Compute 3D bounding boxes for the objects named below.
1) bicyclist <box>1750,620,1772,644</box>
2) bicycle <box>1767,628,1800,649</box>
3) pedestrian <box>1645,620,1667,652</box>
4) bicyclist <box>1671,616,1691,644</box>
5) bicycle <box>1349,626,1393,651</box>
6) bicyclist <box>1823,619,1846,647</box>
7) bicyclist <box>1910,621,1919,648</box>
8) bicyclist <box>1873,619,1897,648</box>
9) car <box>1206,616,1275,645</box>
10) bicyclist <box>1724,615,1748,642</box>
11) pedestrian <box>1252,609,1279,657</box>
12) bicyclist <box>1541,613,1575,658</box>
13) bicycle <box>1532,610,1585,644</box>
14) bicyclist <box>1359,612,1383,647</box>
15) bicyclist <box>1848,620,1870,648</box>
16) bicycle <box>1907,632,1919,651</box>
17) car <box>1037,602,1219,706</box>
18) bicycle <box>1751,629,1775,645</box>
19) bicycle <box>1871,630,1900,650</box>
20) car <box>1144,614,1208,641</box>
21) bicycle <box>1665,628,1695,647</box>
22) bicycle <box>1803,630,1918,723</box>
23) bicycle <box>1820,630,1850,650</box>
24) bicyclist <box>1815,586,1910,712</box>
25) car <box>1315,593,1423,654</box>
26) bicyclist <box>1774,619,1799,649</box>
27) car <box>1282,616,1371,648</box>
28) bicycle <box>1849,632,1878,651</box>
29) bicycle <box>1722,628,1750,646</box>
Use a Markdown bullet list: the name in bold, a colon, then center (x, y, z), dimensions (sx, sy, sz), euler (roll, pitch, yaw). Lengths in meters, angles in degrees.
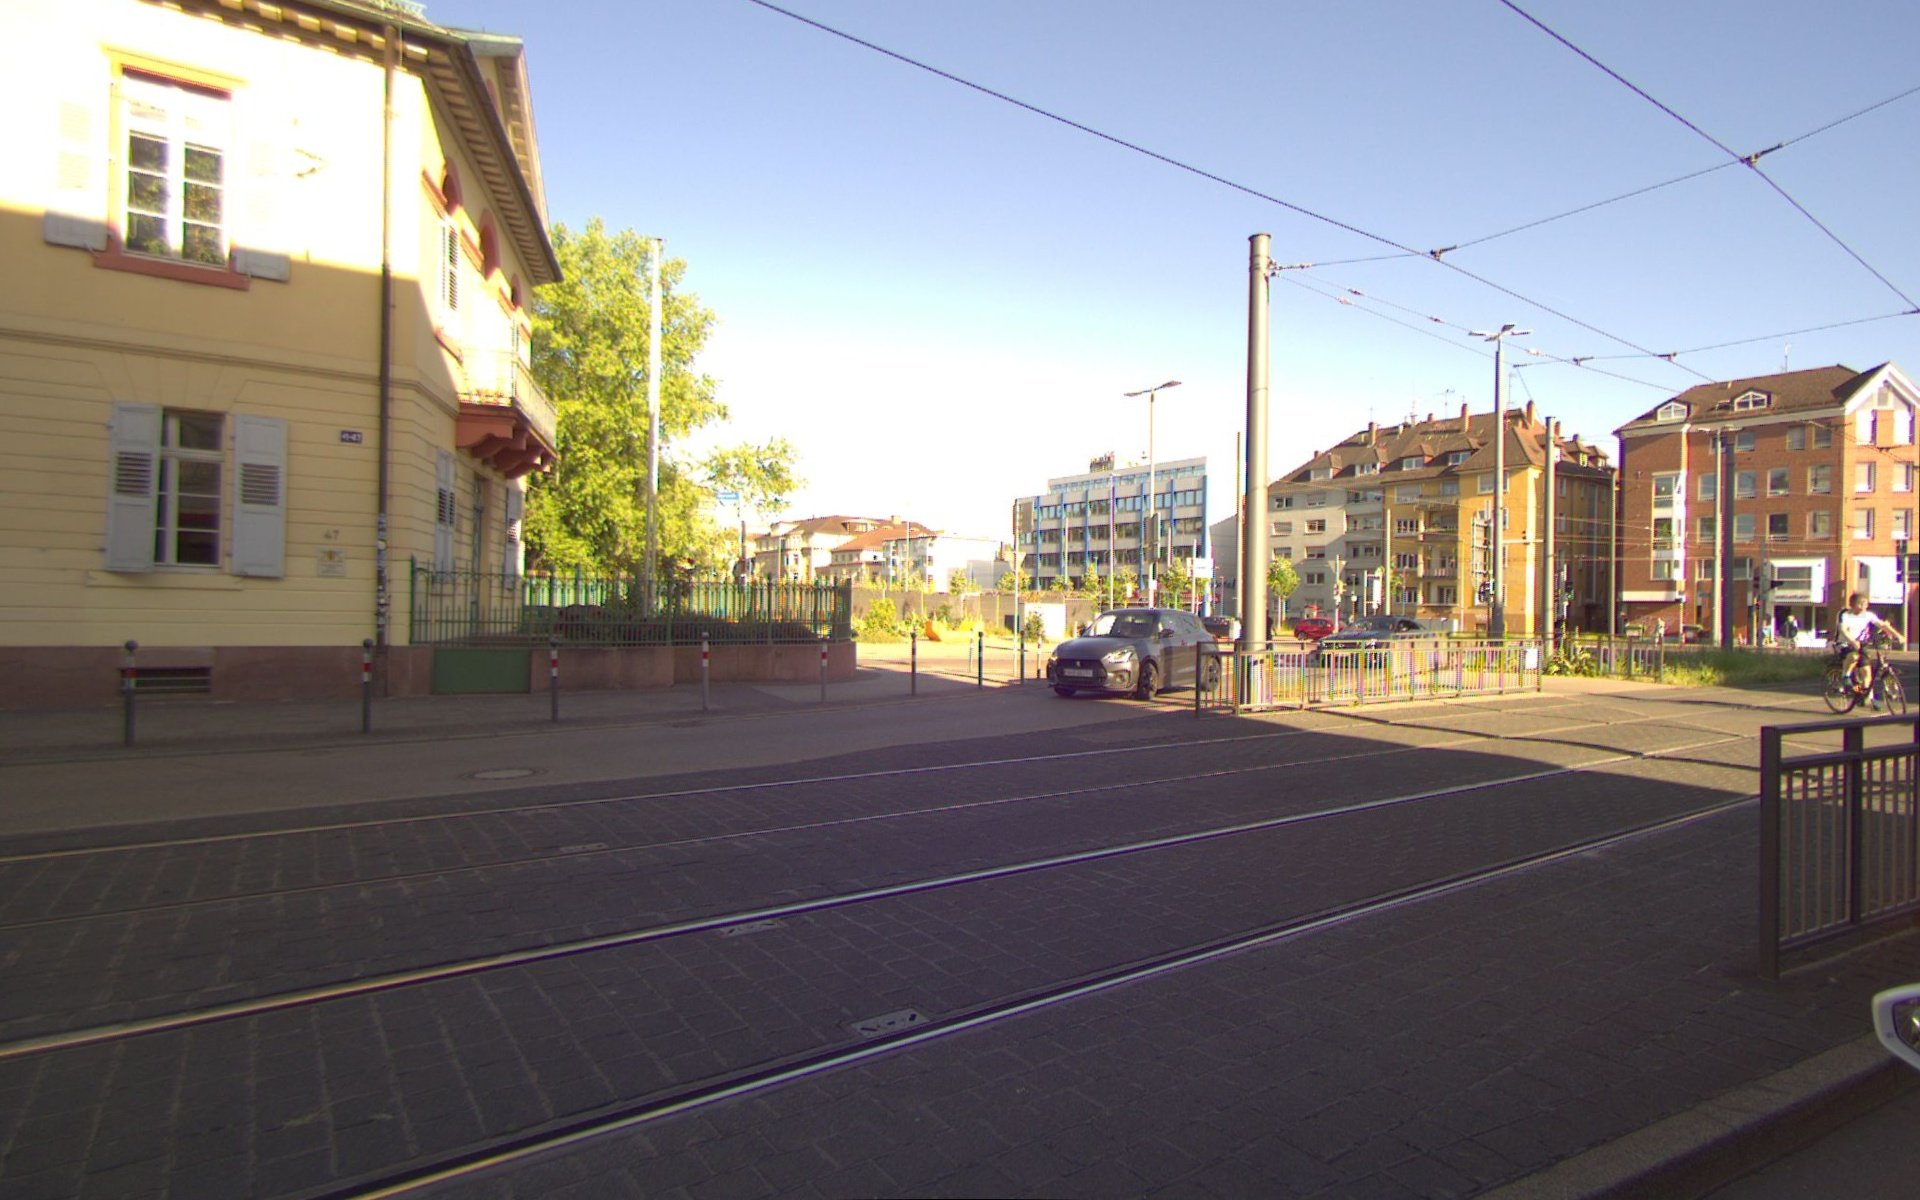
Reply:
- **bicyclist**: center (50.375, 1.988, 63.139), dimensions (0.958, 1.490, 0.702), euler (1, 0, -22)
- **bicycle**: center (44.372, 2.070, 54.118), dimensions (2.197, 1.103, 0.535), euler (2, 0, -28)
- **pedestrian**: center (41.165, 2.139, 59.405), dimensions (0.737, 1.845, 0.781), euler (2, 0, -28)
- **bicyclist**: center (39.770, 1.647, 55.406), dimensions (0.688, 1.523, 0.630), euler (2, 0, -30)
- **bicycle**: center (22.253, 2.084, 54.376), dimensions (0.542, 1.230, 2.168), euler (2, 0, -41)
- **bicyclist**: center (50.232, 1.898, 57.705), dimensions (0.737, 1.584, 0.781), euler (1, 0, -28)
- **bicyclist**: center (57.912, 2.099, 60.525), dimensions (0.737, 1.584, 0.781), euler (2, 0, -28)
- **bicyclist**: center (52.736, 1.904, 57.255), dimensions (0.737, 1.584, 0.781), euler (1, 0, -28)
- **car**: center (18.000, 1.940, 64.585), dimensions (1.762, 1.694, 3.955), euler (2, 0, -39)
- **bicyclist**: center (45.623, 1.659, 59.028), dimensions (0.688, 1.523, 0.894), euler (2, 0, -30)
- **pedestrian**: center (11.093, 1.201, 36.456), dimensions (0.761, 1.703, 0.591), euler (2, 0, 32)
- **bicyclist**: center (20.866, 1.234, 35.045), dimensions (0.581, 1.547, 0.782), euler (2, 0, -27)
- **bicycle**: center (20.901, 0.950, 35.054), dimensions (2.172, 1.108, 0.457), euler (2, 0, -26)
- **bicyclist**: center (22.246, 1.598, 54.400), dimensions (0.785, 1.832, 0.892), euler (2, 0, -42)
- **bicyclist**: center (52.844, 1.984, 59.057), dimensions (0.737, 1.584, 0.781), euler (1, 0, -28)
- **bicycle**: center (57.895, 2.532, 60.510), dimensions (2.197, 1.103, 0.527), euler (2, 0, -28)
- **car**: center (3.004, 0.870, 17.340), dimensions (1.618, 1.546, 3.854), euler (2, 0, 34)
- **bicycle**: center (50.494, 2.341, 63.189), dimensions (1.669, 0.994, 0.403), euler (2, 0, -22)
- **bicycle**: center (52.748, 2.300, 57.223), dimensions (2.197, 1.103, 0.527), euler (1, 0, -28)
- **car**: center (14.720, 1.869, 68.599), dimensions (1.895, 1.708, 3.916), euler (2, 0, -41)
- **bicycle**: center (39.707, 2.062, 55.385), dimensions (2.220, 0.984, 0.444), euler (2, 0, -31)
- **bicycle**: center (13.355, 1.095, 14.958), dimensions (0.476, 1.238, 1.856), euler (2, 0, 16)
- **bicycle**: center (50.327, 2.288, 57.754), dimensions (2.255, 1.103, 0.527), euler (1, 0, -28)
- **bicyclist**: center (13.355, 0.708, 14.888), dimensions (0.743, 1.783, 0.753), euler (2, 0, 16)
- **car**: center (11.499, 0.646, 28.116), dimensions (1.690, 1.547, 4.018), euler (2, 0, 39)
- **bicyclist**: center (44.618, 1.841, 54.242), dimensions (0.737, 1.584, 0.781), euler (2, 0, -28)
- **car**: center (21.828, 1.882, 59.949), dimensions (1.984, 1.723, 4.545), euler (2, 0, -41)
- **bicycle**: center (53.333, 2.437, 59.293), dimensions (2.255, 1.103, 0.527), euler (2, 0, -28)
- **bicycle**: center (45.660, 2.171, 59.077), dimensions (2.220, 0.984, 0.521), euler (2, 0, -31)
